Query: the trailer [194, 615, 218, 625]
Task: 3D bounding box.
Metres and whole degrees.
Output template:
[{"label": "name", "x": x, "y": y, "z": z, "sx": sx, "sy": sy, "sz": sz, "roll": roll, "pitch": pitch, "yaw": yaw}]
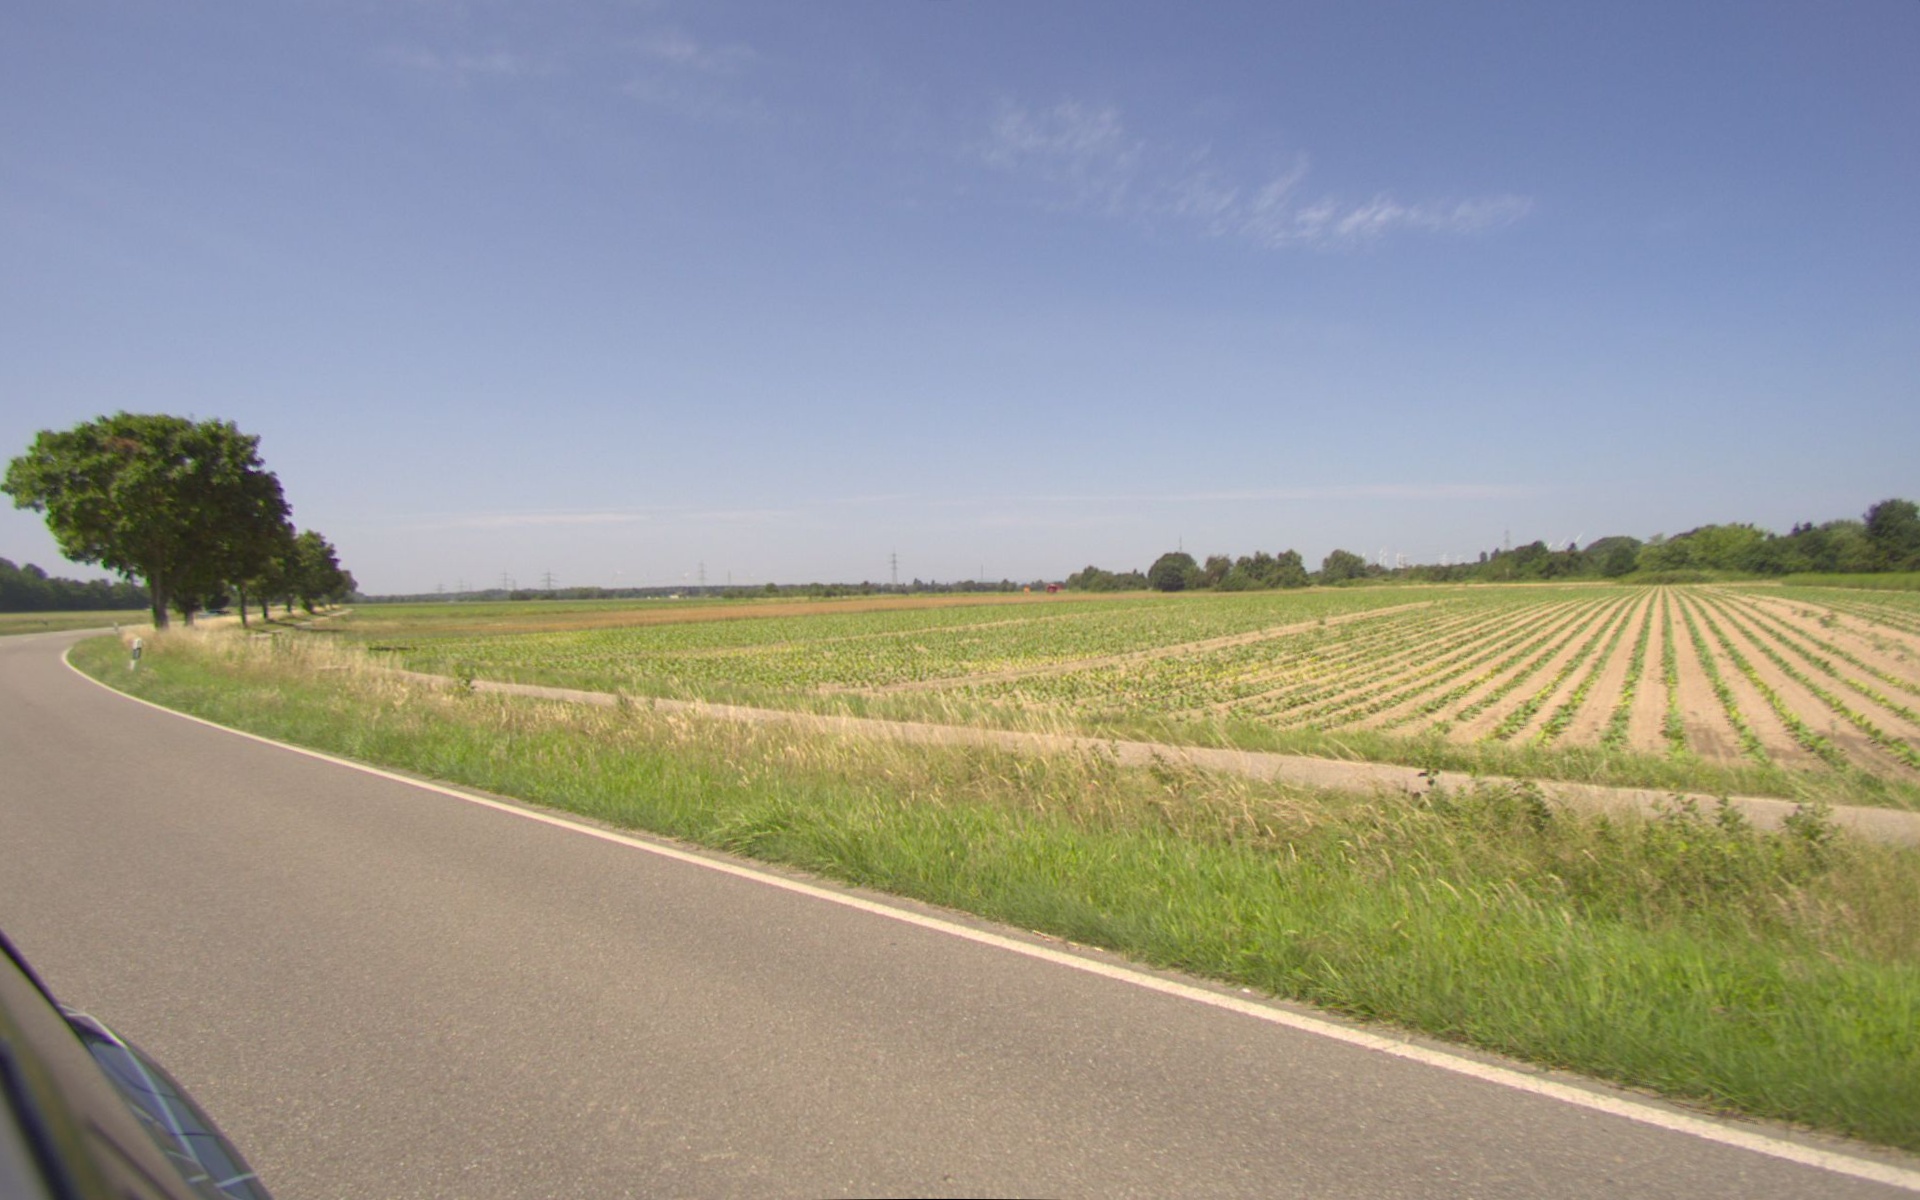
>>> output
[{"label": "trailer", "x": -82.869, "y": 2.209, "z": 111.311, "sx": 1.600, "sy": 1.073, "sz": 4.131, "roll": 2, "pitch": -2, "yaw": -30}]
